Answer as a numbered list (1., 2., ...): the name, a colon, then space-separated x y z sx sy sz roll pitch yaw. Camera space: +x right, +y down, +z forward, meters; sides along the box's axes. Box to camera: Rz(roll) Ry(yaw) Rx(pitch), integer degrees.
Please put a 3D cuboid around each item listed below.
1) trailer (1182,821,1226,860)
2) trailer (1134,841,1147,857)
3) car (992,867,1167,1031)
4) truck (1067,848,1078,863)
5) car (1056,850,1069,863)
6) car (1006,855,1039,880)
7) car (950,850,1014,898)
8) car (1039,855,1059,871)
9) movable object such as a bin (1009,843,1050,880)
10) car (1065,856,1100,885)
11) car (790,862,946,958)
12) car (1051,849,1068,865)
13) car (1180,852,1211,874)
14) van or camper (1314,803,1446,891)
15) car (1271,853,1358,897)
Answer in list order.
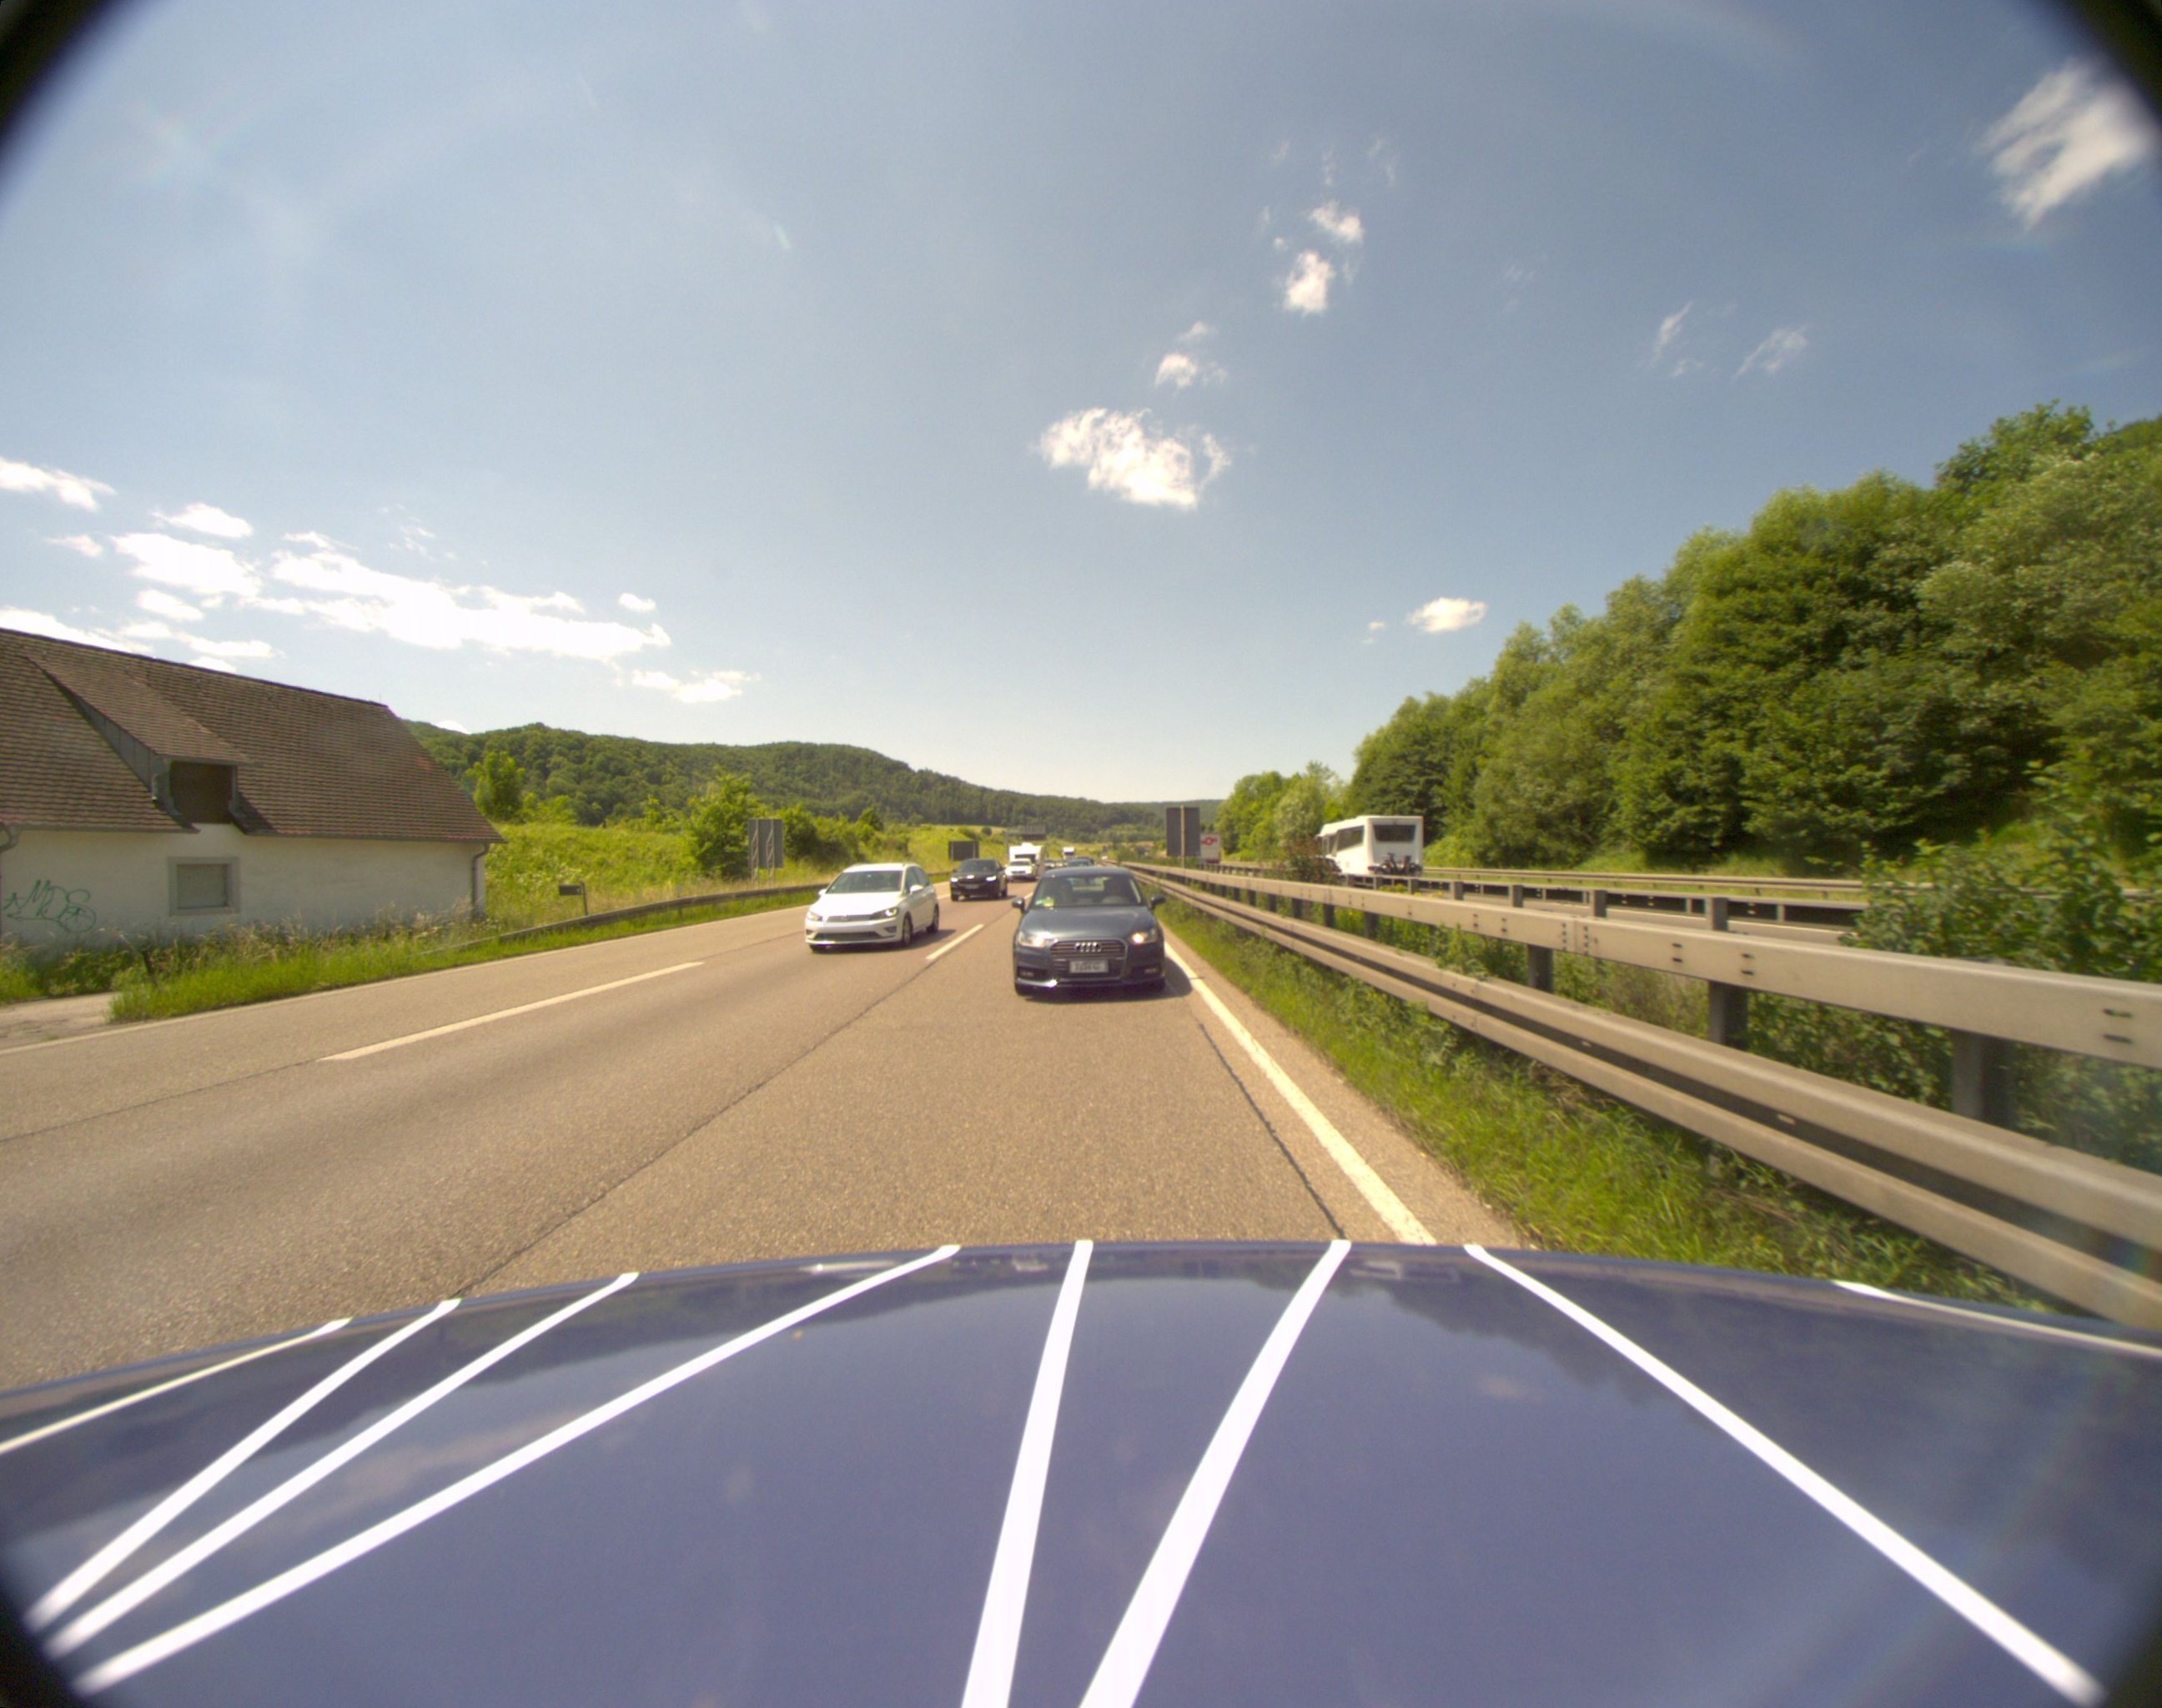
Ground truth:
1. trailer: 13.718 -1.462 86.108 2.789 3.976 14.159 -1 0 1
2. trailer: 14.909 -1.251 191.101 2.587 3.982 12.601 -2 0 1
3. car: 0.119 0.925 9.055 1.591 1.401 4.001 -2 0 4
4. truck: -2.079 0.310 185.876 2.336 3.623 7.006 -2 0 1
5. car: -3.115 0.377 126.510 1.998 2.002 4.000 -2 0 0
6. car: -3.952 0.873 52.048 1.821 1.574 4.000 -1 0 1
7. car: -3.875 0.752 30.429 1.893 1.761 4.172 -1 0 2
8. car: -3.238 0.911 77.832 1.711 1.542 4.000 -1 0 1
9. movable object such as a bin: -3.882 0.517 58.808 2.481 2.616 6.709 -2 0 1
10. car: 0.123 0.899 43.368 1.835 1.586 4.000 -1 0 2
11. car: -3.987 0.979 14.975 1.777 1.532 4.054 -2 0 2
12. car: -2.880 0.378 102.532 1.999 2.002 3.998 -1 0 -5
13. car: 8.894 0.666 59.361 1.779 1.642 4.491 -1 0 1
14. van or camper: 12.548 -0.268 32.723 2.597 3.316 7.647 -1 0 0
15. car: 8.510 0.707 28.089 1.802 1.455 4.536 -1 0 0
